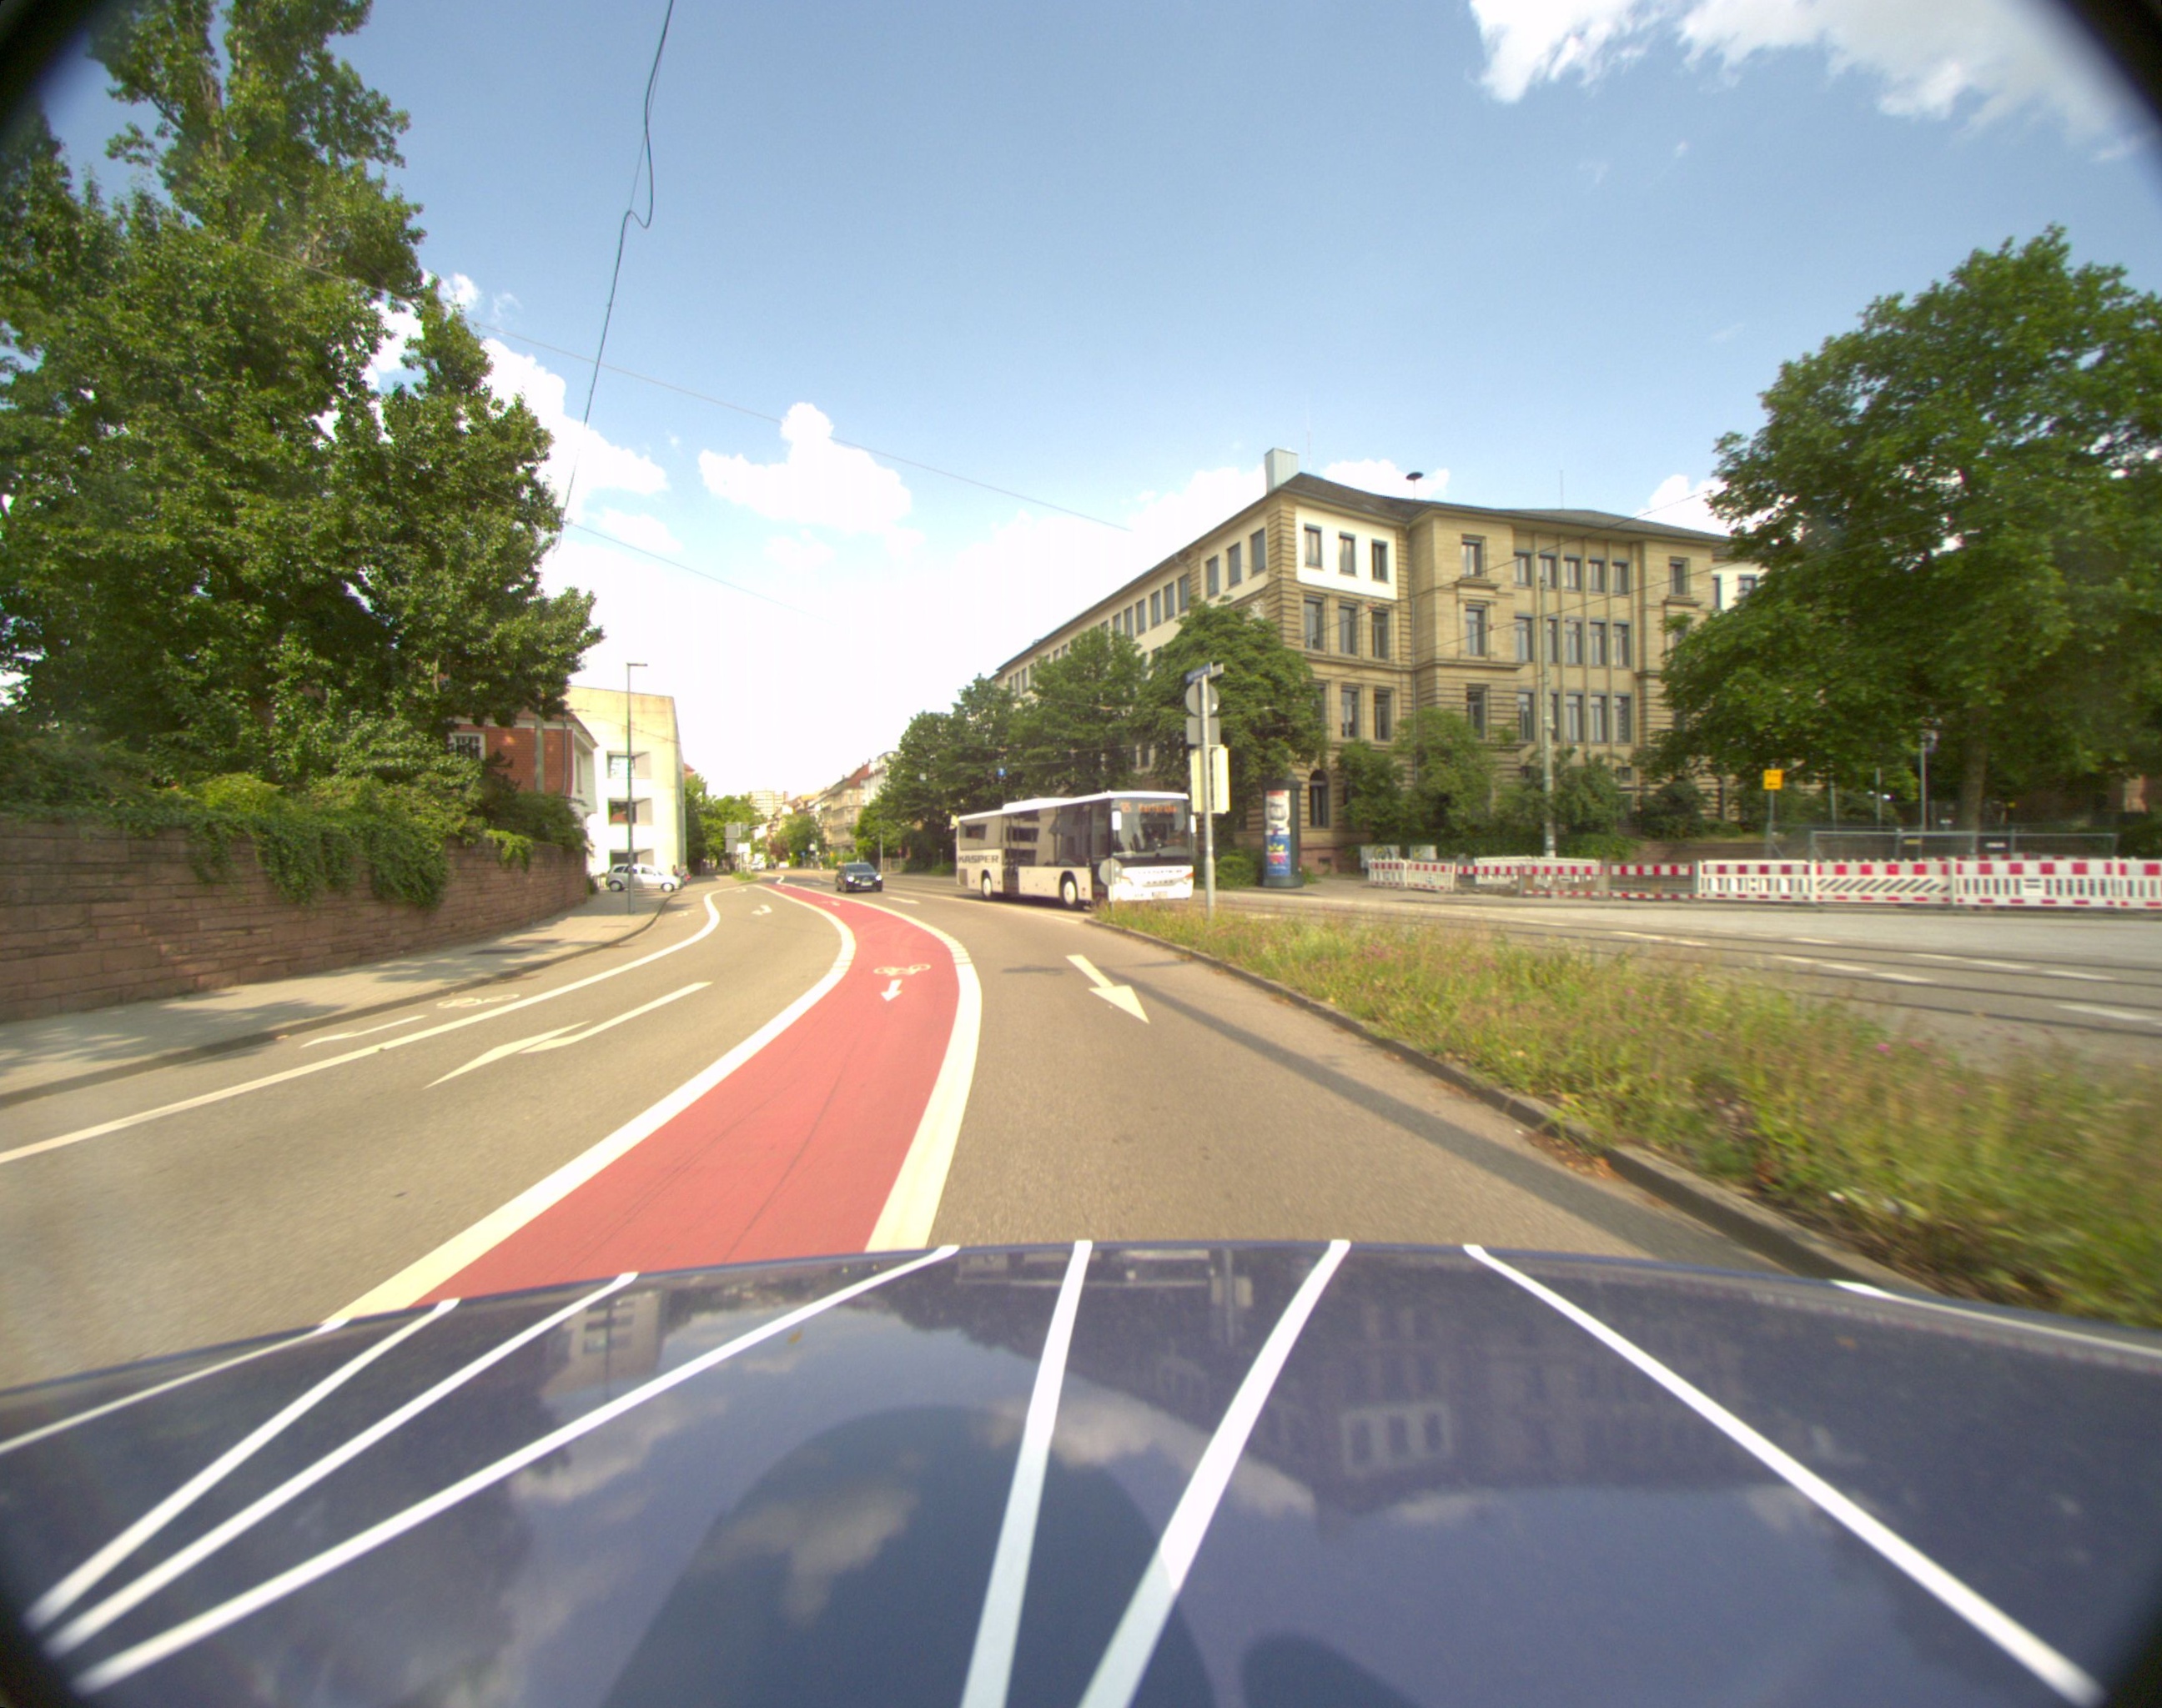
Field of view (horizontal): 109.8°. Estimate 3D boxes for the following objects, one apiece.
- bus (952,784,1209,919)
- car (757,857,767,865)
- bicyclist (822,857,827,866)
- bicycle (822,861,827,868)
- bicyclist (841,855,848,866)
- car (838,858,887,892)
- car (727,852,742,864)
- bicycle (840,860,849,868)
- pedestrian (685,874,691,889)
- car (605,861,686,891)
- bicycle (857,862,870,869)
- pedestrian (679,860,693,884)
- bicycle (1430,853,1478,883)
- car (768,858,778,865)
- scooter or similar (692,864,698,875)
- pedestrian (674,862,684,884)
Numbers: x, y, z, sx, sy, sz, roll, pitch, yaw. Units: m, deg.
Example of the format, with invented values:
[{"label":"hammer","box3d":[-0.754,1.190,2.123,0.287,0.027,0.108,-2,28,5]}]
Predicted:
[{"label":"bus","box3d":[-0.796,-0.097,24.633,2.931,3.309,12.178,-3,1,-28]},{"label":"car","box3d":[-79.967,1.748,190.423,1.906,1.896,5.372,-1,0,-28]},{"label":"bicyclist","box3d":[-40.493,1.198,120.011,0.602,1.483,0.880,4,-2,-24]},{"label":"bicycle","box3d":[-40.517,1.605,119.992,0.605,1.090,2.019,4,-3,-24]},{"label":"bicyclist","box3d":[-31.465,0.902,100.917,0.694,1.510,0.866,0,0,-30]},{"label":"car","box3d":[-11.041,1.041,38.219,1.697,1.568,4.148,-2,0,-26]},{"label":"car","box3d":[-53.882,0.624,118.039,1.904,1.929,4.940,-1,0,-27]},{"label":"bicycle","box3d":[-31.433,1.364,100.885,0.702,1.011,1.815,0,0,-30]},{"label":"pedestrian","box3d":[-27.447,1.928,53.032,0.344,1.004,0.396,0,-2,-36]},{"label":"car","box3d":[-25.335,1.286,44.355,3.897,1.595,1.662,-1,-1,-23]},{"label":"bicycle","box3d":[-29.600,1.587,103.286,1.147,0.904,2.982,-5,2,-27]},{"label":"pedestrian","box3d":[-28.473,1.305,54.737,0.687,1.714,0.746,0,-1,-12]},{"label":"bicycle","box3d":[15.813,0.593,32.194,2.124,1.161,0.728,-3,1,-28]},{"label":"car","box3d":[-66.357,1.634,163.691,1.696,1.393,3.922,1,-1,-27]},{"label":"scooter or similar","box3d":[-40.975,1.619,80.668,0.323,1.174,1.146,-2,1,-14]},{"label":"pedestrian","box3d":[-28.054,1.332,52.985,0.522,1.570,0.547,0,-2,-36]}]
